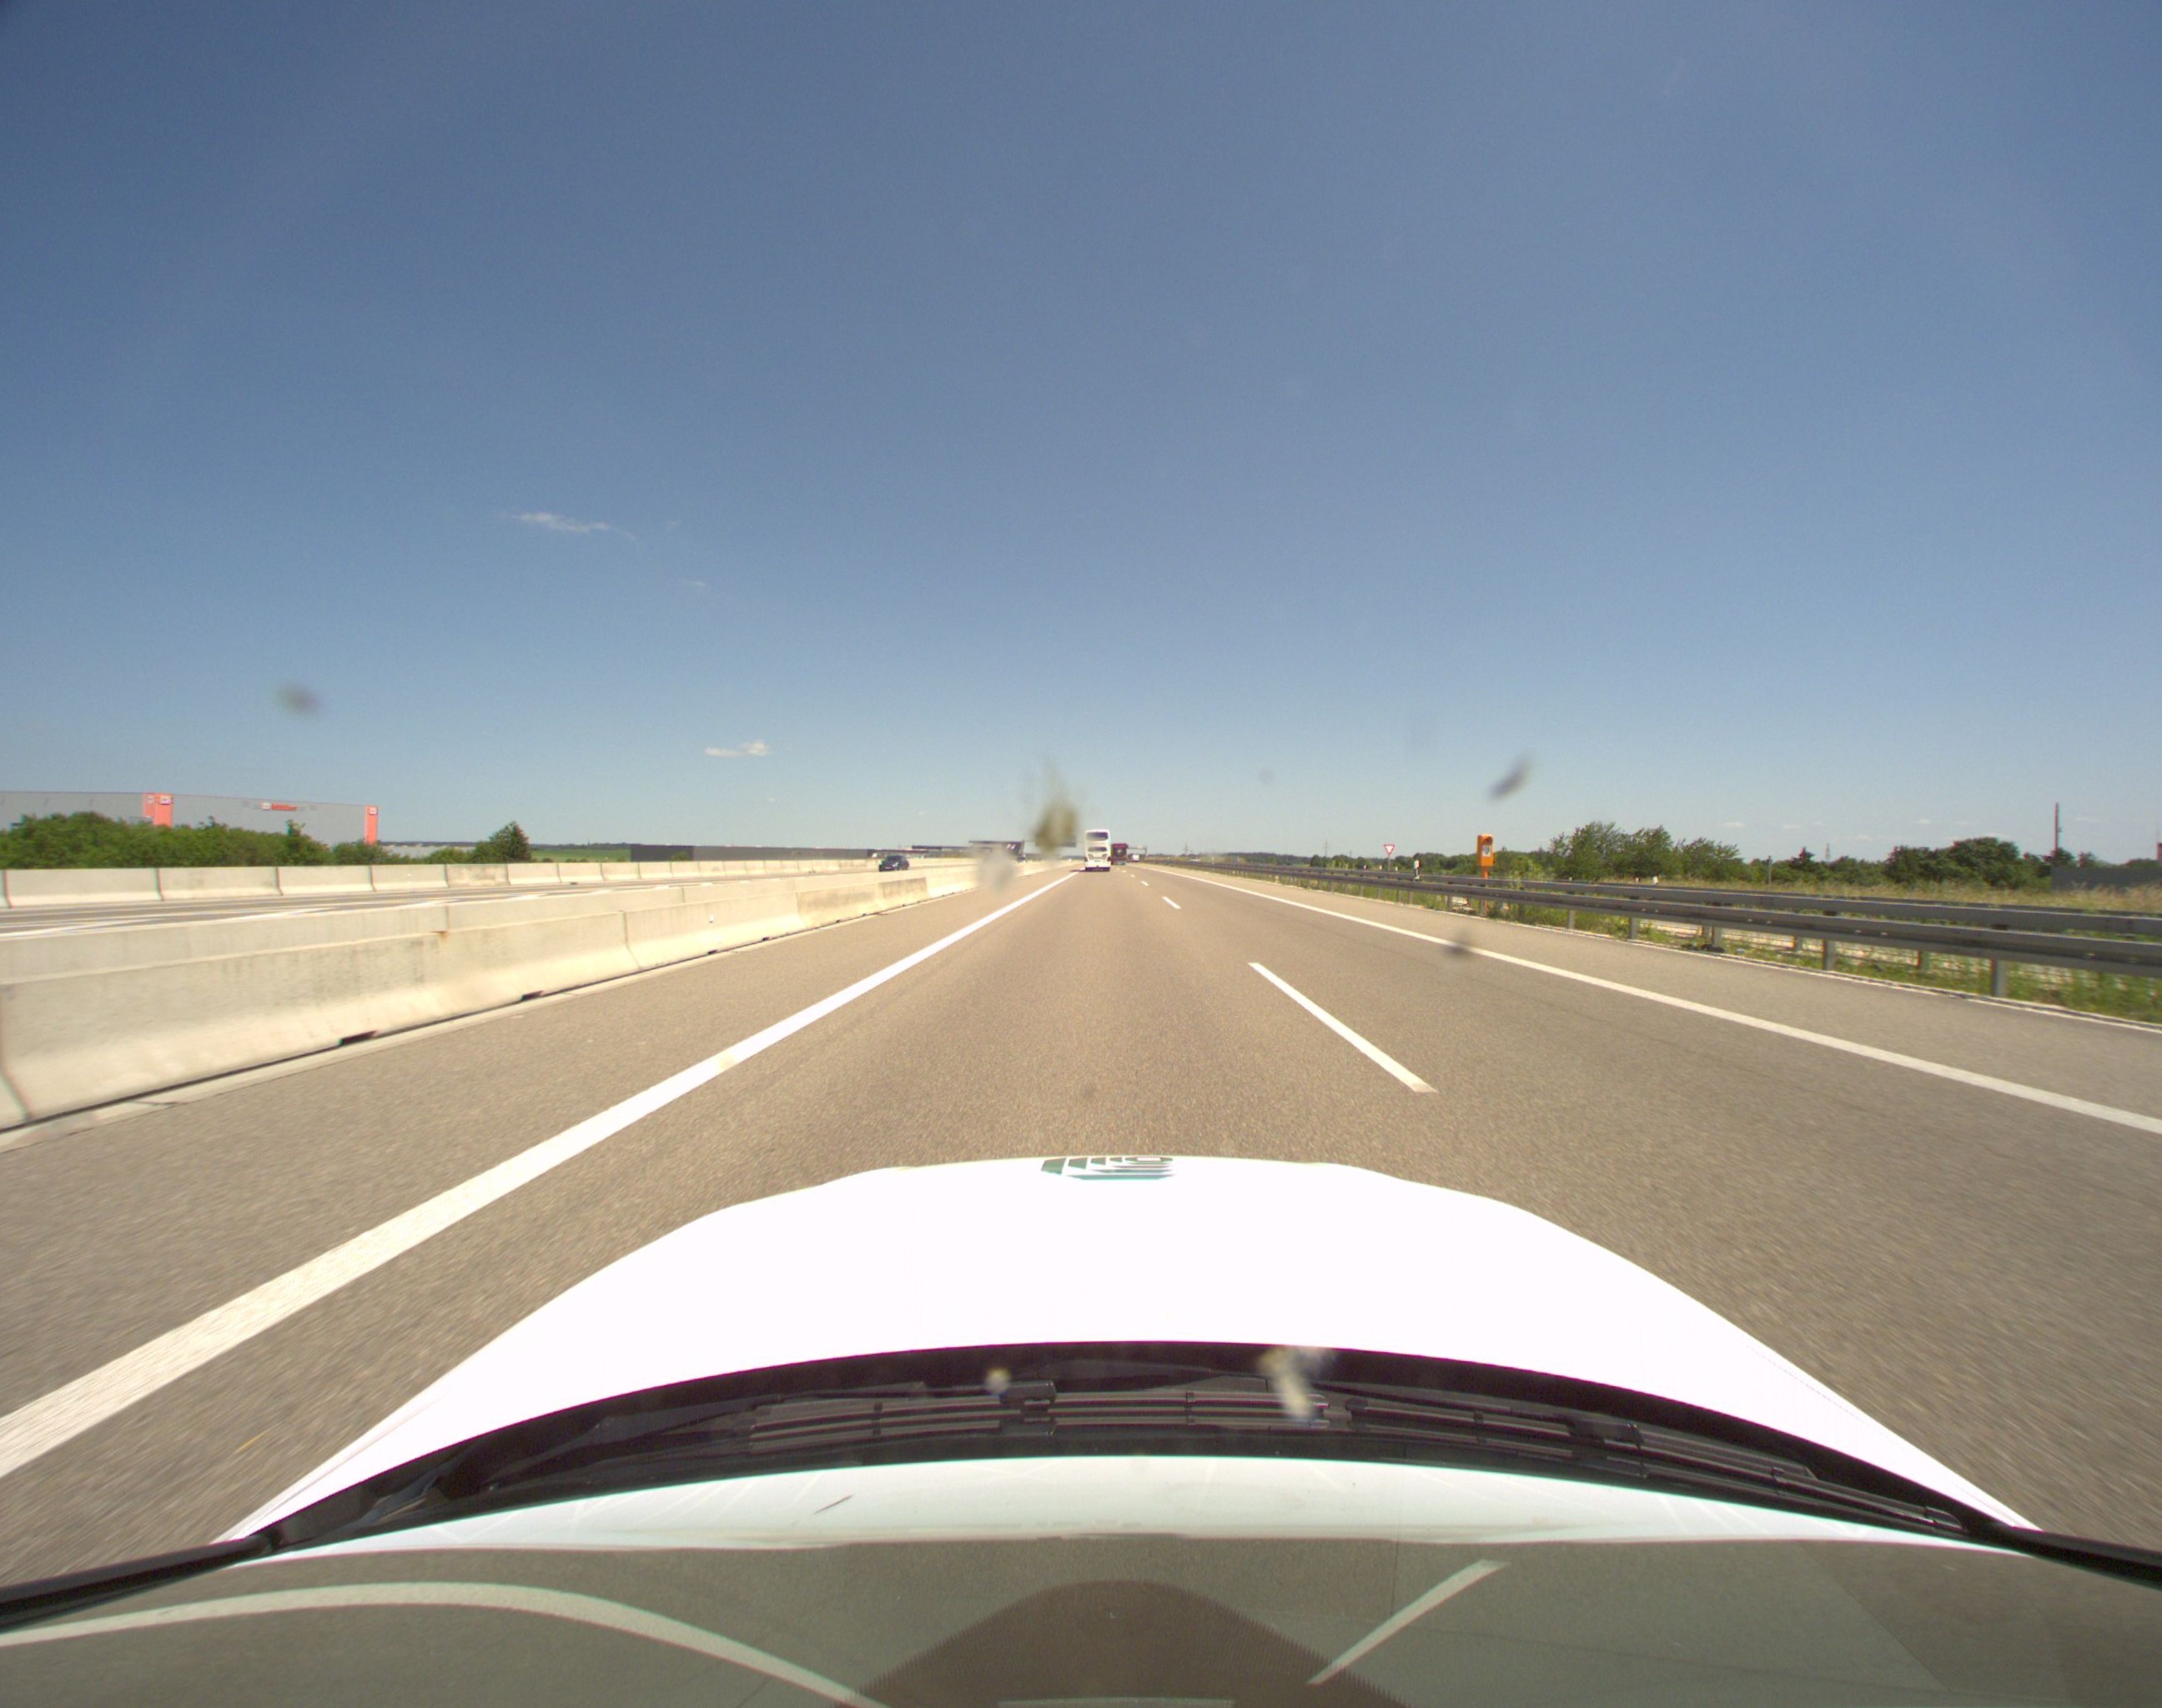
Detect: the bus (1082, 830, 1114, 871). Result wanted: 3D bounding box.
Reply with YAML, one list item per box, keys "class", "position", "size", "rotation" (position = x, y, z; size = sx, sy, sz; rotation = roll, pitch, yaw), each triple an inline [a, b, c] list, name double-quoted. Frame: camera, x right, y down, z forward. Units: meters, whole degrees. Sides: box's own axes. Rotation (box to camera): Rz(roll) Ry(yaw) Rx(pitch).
- class: "bus"
  position: [1.653, -0.334, 82.057]
  size: [2.970, 3.975, 9.104]
  rotation: [0, 0, 0]

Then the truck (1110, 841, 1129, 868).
- class: "truck"
  position: [7.437, 0.209, 156.286]
  size: [3.365, 4.464, 13.575]
  rotation: [0, -3, 3]

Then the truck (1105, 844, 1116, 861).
- class: "truck"
  position: [6.675, -0.307, 186.018]
  size: [2.429, 3.789, 6.493]
  rotation: [0, 0, 1]

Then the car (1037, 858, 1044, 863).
- class: "car"
  position: [-11.883, 1.798, 239.511]
  size: [1.903, 1.459, 4.284]
  rotation: [0, 0, 0]

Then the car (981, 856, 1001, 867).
- class: "car"
  position: [-11.773, 0.916, 106.812]
  size: [1.904, 1.420, 4.912]
  rotation: [0, 0, 3]

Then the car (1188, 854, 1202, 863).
- class: "car"
  position: [20.278, 0.853, 144.637]
  size: [1.885, 1.529, 4.260]
  rotation: [0, 0, -1]

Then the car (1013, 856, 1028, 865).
- class: "car"
  position: [-9.577, 1.049, 129.191]
  size: [1.835, 1.420, 4.527]
  rotation: [0, 0, 2]

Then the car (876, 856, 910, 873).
- class: "car"
  position: [-16.946, 0.923, 73.695]
  size: [1.904, 1.420, 4.552]
  rotation: [0, 0, 2]
